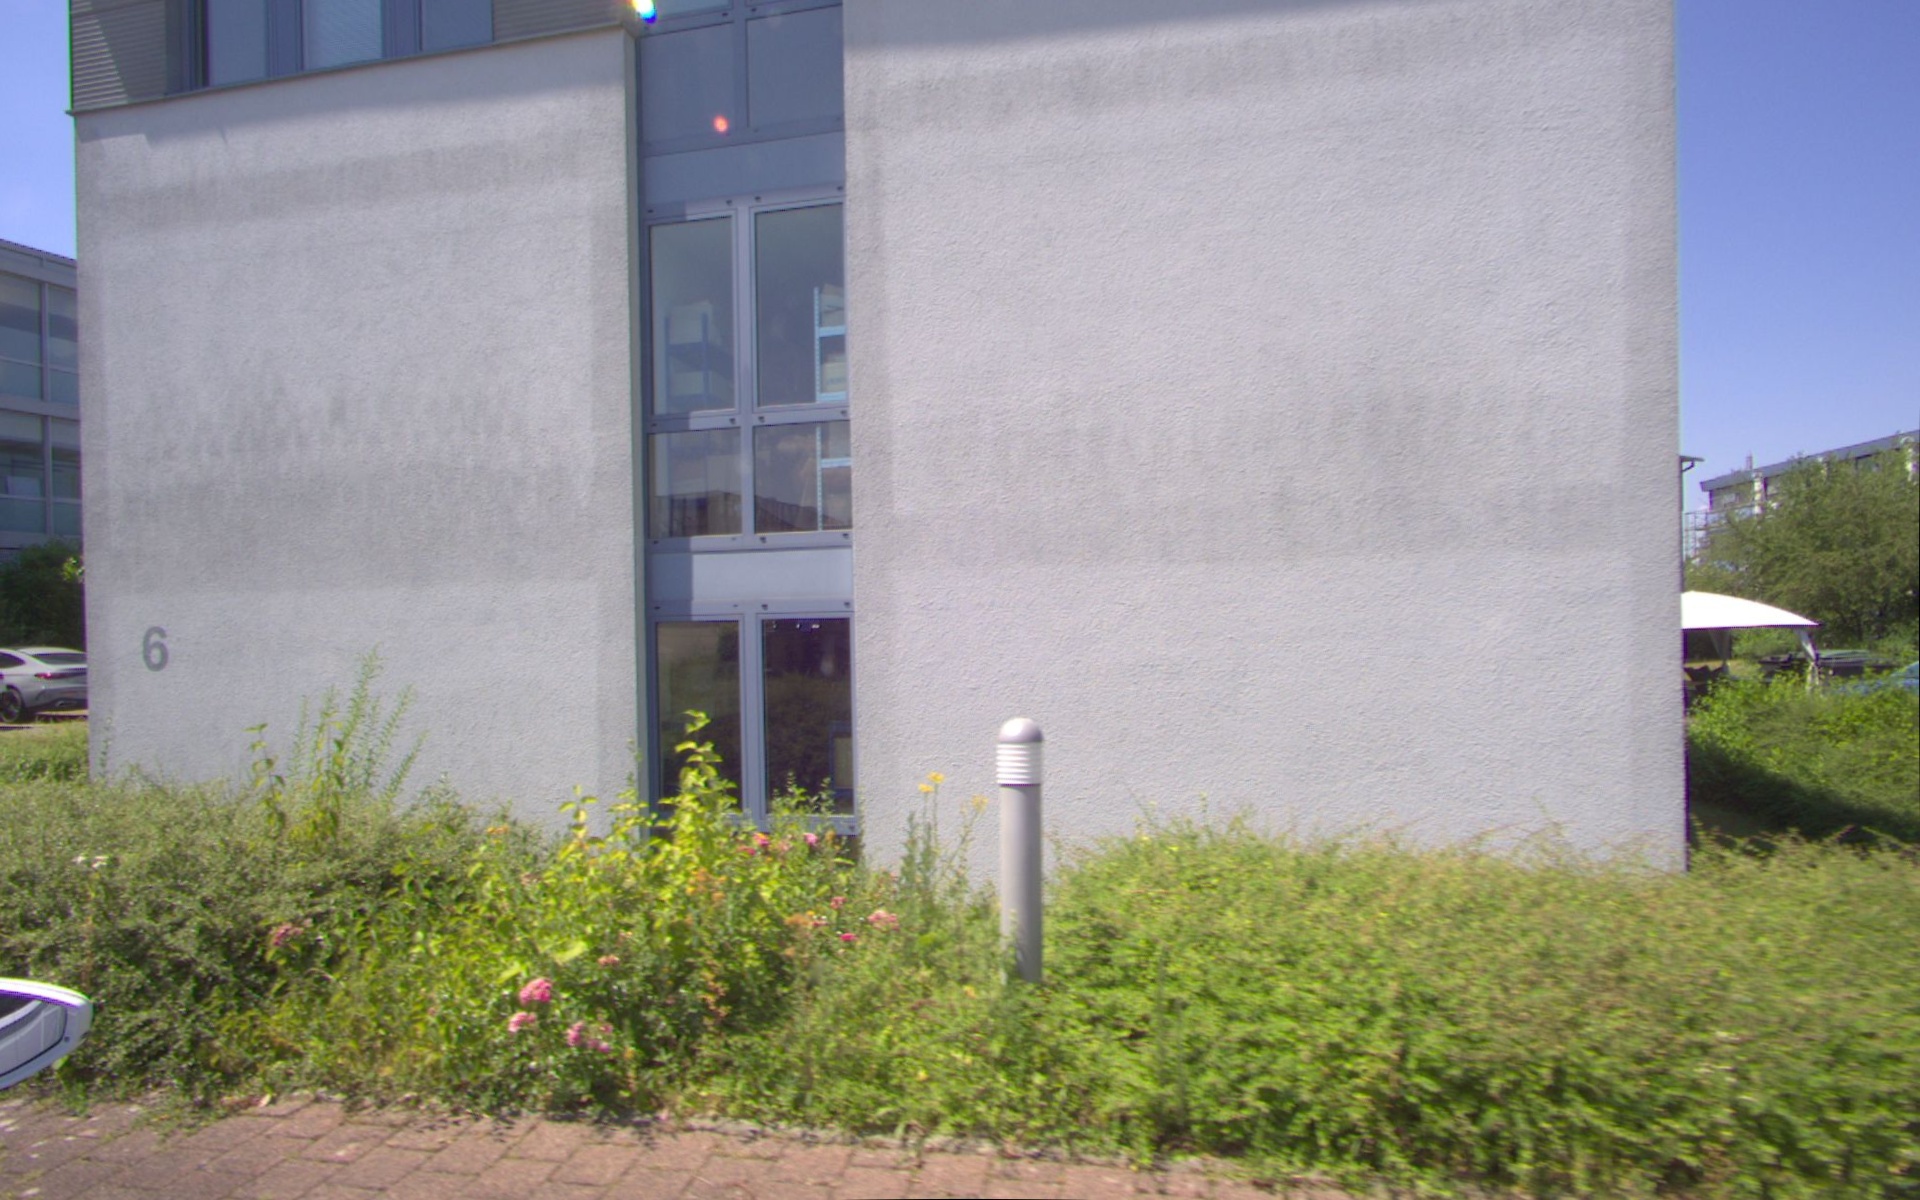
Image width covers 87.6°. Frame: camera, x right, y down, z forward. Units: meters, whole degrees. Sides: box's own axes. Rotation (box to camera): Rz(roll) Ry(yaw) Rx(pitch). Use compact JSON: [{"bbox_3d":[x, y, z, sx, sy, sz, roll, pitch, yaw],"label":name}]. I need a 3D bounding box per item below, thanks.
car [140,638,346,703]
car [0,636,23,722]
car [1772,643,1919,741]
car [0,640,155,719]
[{"bbox_3d":[-17.541,1.691,24.530,4.466,1.465,1.740,0,-2,17],"label":"car"},{"bbox_3d":[-19.087,1.357,17.421,4.256,1.510,1.742,0,-2,8],"label":"car"},{"bbox_3d":[16.241,1.446,16.159,4.524,1.513,1.857,0,-2,9],"label":"car"},{"bbox_3d":[-18.621,1.536,20.096,4.261,1.447,1.740,0,-2,17],"label":"car"}]
